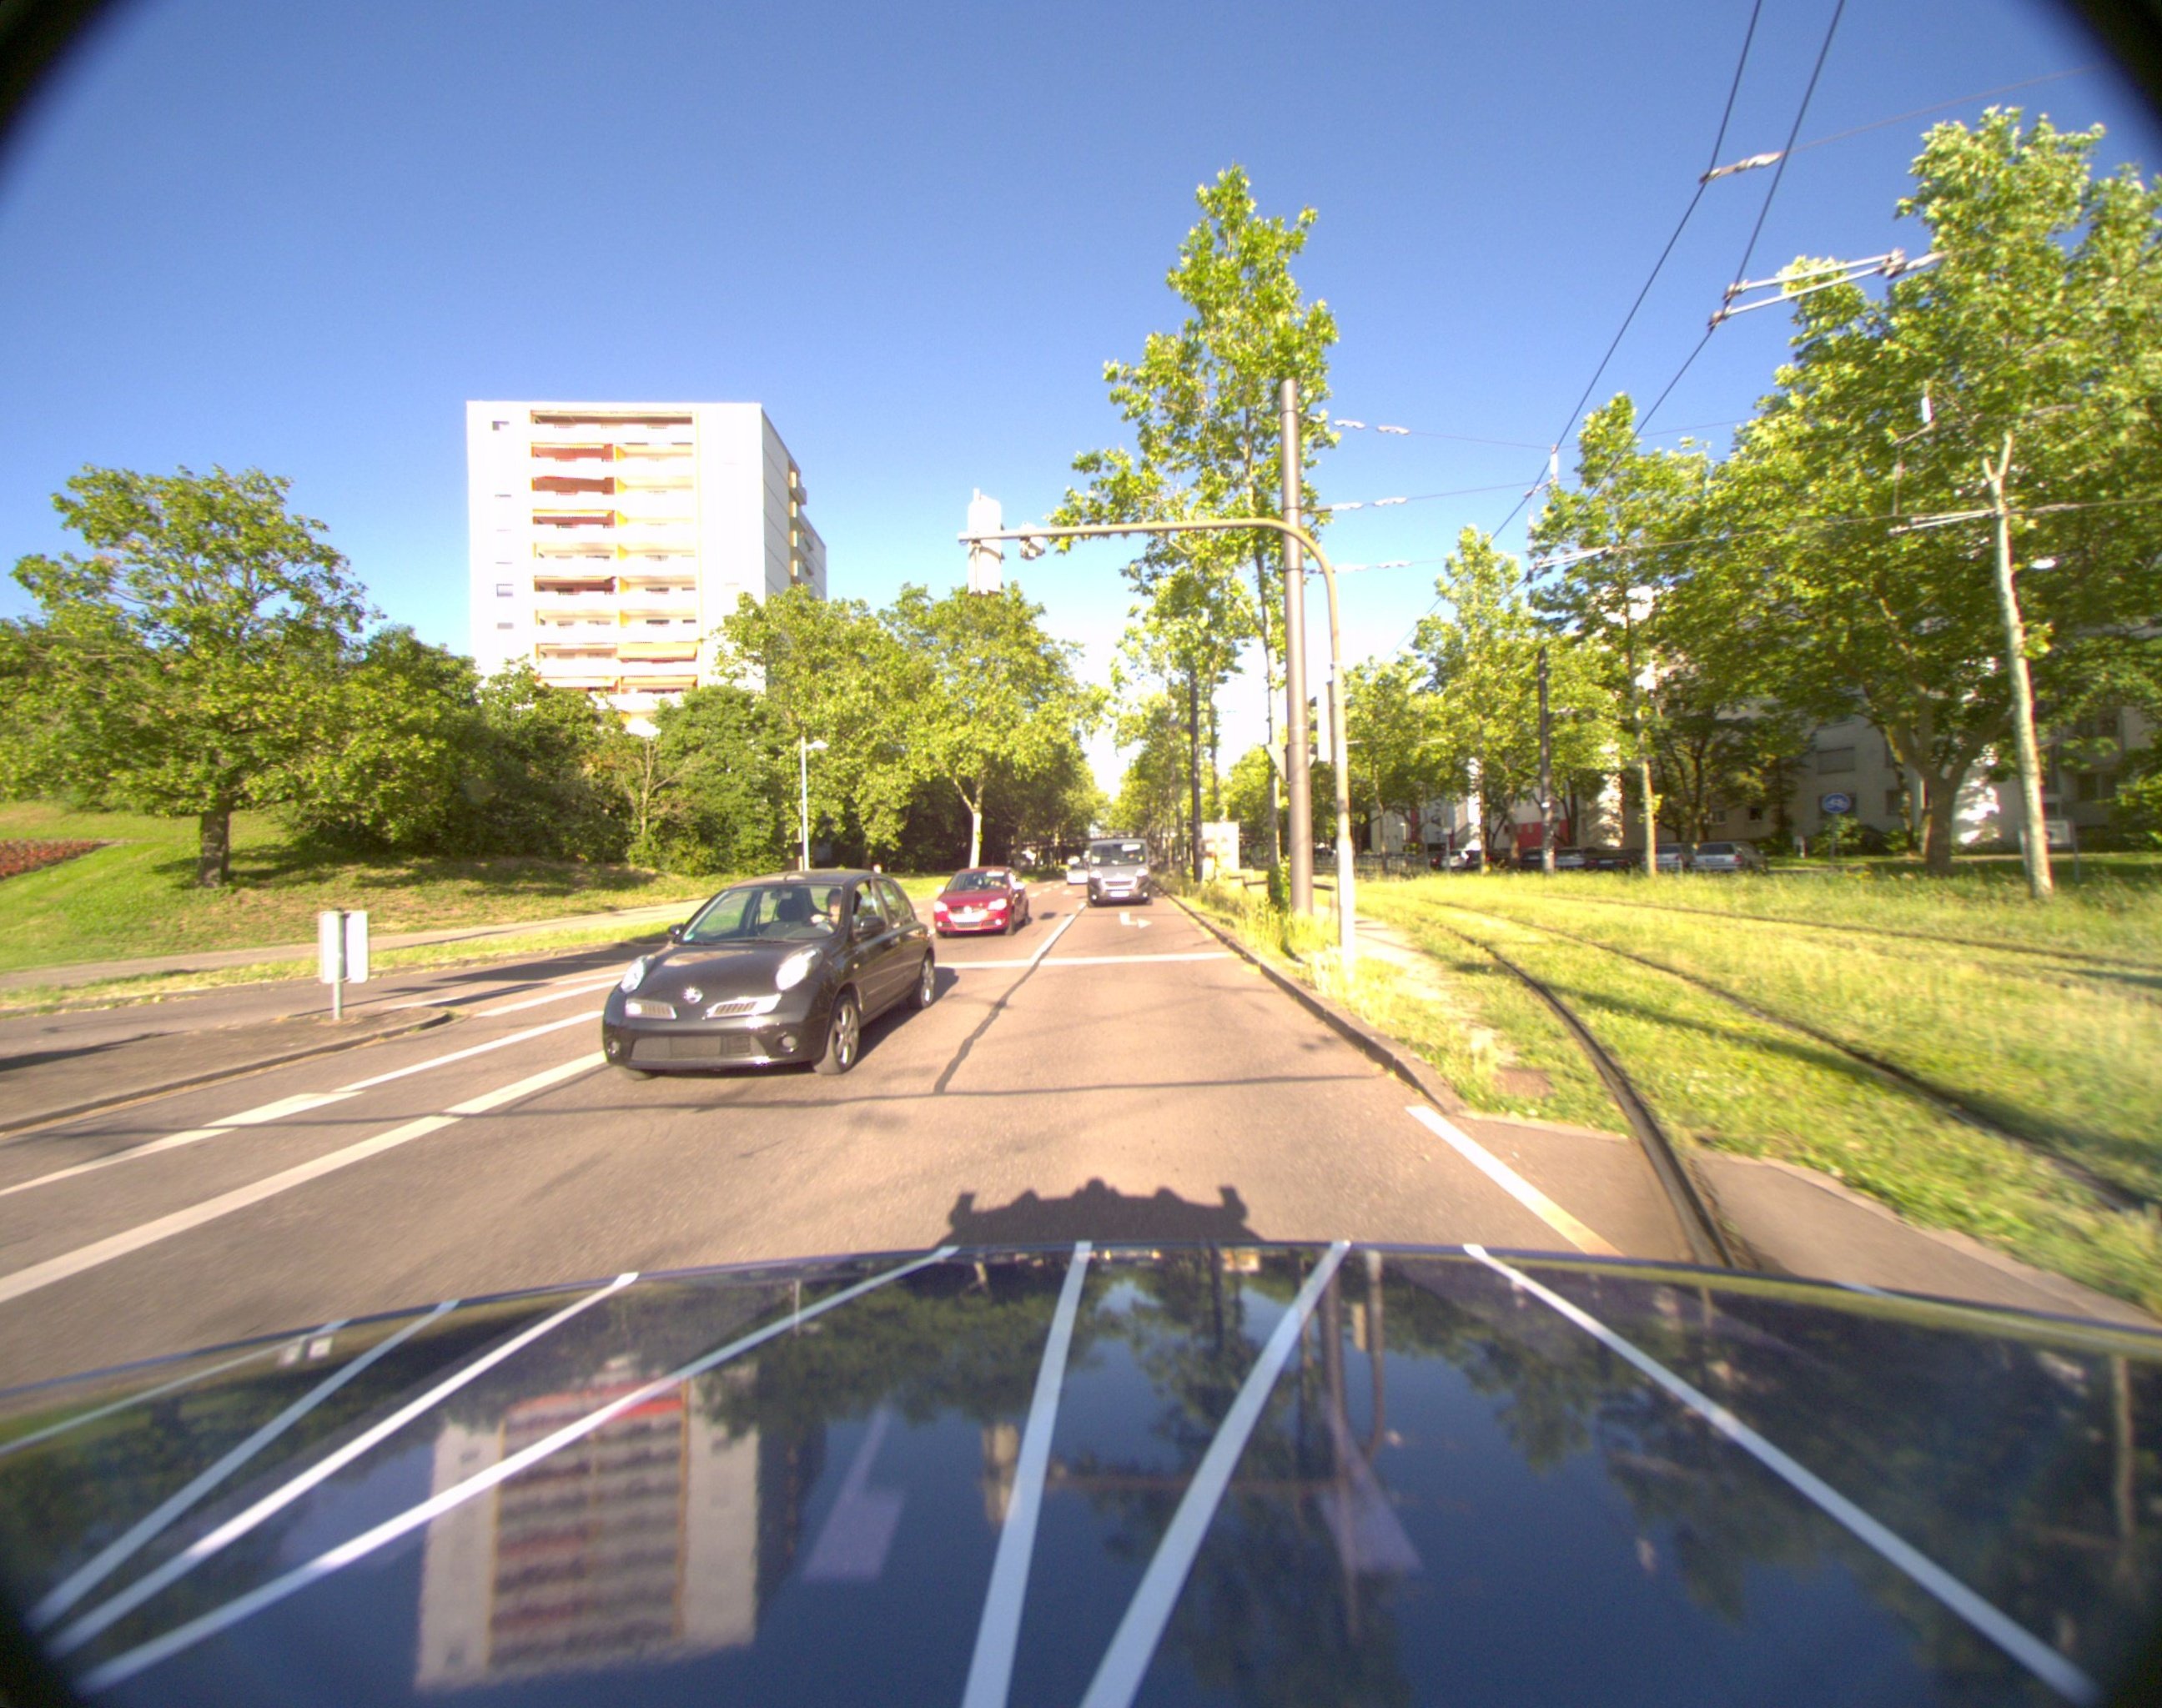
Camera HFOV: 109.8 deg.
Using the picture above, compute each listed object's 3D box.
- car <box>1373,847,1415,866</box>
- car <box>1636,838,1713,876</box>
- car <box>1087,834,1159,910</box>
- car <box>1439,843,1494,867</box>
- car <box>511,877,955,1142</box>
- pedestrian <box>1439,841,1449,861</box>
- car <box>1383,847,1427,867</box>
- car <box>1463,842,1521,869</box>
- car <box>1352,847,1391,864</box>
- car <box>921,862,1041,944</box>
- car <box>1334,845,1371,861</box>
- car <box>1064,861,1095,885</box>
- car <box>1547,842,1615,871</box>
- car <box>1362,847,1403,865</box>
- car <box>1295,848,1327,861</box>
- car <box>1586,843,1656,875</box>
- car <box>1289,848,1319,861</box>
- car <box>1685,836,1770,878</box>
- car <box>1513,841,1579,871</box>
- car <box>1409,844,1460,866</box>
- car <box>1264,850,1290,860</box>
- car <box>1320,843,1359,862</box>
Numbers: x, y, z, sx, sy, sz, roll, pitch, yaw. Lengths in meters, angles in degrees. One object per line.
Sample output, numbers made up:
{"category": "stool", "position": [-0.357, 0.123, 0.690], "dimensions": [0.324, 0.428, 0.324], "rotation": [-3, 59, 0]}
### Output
{"category": "car", "position": [28.479, 0.209, 69.096], "dimensions": [4.057, 1.490, 1.791], "rotation": [-2, -1, -40]}
{"category": "car", "position": [26.536, 0.113, 33.940], "dimensions": [4.057, 1.478, 1.760], "rotation": [-2, -1, -39]}
{"category": "car", "position": [1.350, 0.540, 25.422], "dimensions": [2.039, 2.191, 5.662], "rotation": [-2, 0, 2]}
{"category": "car", "position": [27.436, 0.058, 54.062], "dimensions": [4.056, 1.490, 1.791], "rotation": [-2, -1, -37]}
{"category": "car", "position": [-2.526, 1.030, 6.965], "dimensions": [1.739, 1.474, 4.623], "rotation": [-2, 0, 2]}
{"category": "pedestrian", "position": [36.767, -0.317, 76.962], "dimensions": [0.680, 2.002, 0.645], "rotation": [-2, 0, -1]}
{"category": "car", "position": [27.856, 0.239, 65.295], "dimensions": [4.057, 1.490, 1.791], "rotation": [-2, -1, -40]}
{"category": "car", "position": [27.377, 0.094, 50.558], "dimensions": [4.056, 1.654, 1.791], "rotation": [-2, -1, -37]}
{"category": "car", "position": [28.683, 0.093, 75.042], "dimensions": [4.057, 1.490, 1.791], "rotation": [-2, -1, -40]}
{"category": "car", "position": [-2.095, 1.000, 17.320], "dimensions": [1.771, 1.549, 4.728], "rotation": [-2, 0, 4]}
{"category": "car", "position": [29.128, -0.127, 81.511], "dimensions": [4.057, 1.490, 1.791], "rotation": [-2, -1, -40]}
{"category": "car", "position": [-0.175, 1.280, 52.581], "dimensions": [1.914, 1.549, 4.726], "rotation": [-2, 0, -2]}
{"category": "car", "position": [26.567, 0.125, 40.313], "dimensions": [4.057, 1.379, 1.791], "rotation": [-2, -1, -39]}
{"category": "car", "position": [28.703, 0.213, 72.289], "dimensions": [4.057, 1.490, 1.791], "rotation": [-2, -1, -40]}
{"category": "car", "position": [29.275, 0.041, 96.685], "dimensions": [4.057, 1.490, 1.791], "rotation": [-2, -1, -40]}
{"category": "car", "position": [26.234, 0.229, 36.877], "dimensions": [4.057, 1.379, 1.673], "rotation": [-2, -1, -39]}
{"category": "car", "position": [29.438, 0.057, 100.060], "dimensions": [4.057, 1.490, 1.791], "rotation": [-2, -1, -40]}
{"category": "car", "position": [25.778, 0.114, 30.260], "dimensions": [4.057, 1.478, 1.810], "rotation": [-2, -1, -39]}
{"category": "car", "position": [26.634, 0.108, 43.469], "dimensions": [4.056, 1.490, 1.791], "rotation": [-2, -1, -37]}
{"category": "car", "position": [27.001, 0.074, 57.956], "dimensions": [4.056, 1.490, 1.791], "rotation": [-2, -1, -37]}
{"category": "car", "position": [30.264, 0.153, 117.436], "dimensions": [4.057, 1.490, 1.791], "rotation": [-2, -1, -40]}
{"category": "car", "position": [28.774, -0.193, 84.404], "dimensions": [4.440, 1.907, 2.017], "rotation": [-2, -1, -40]}
